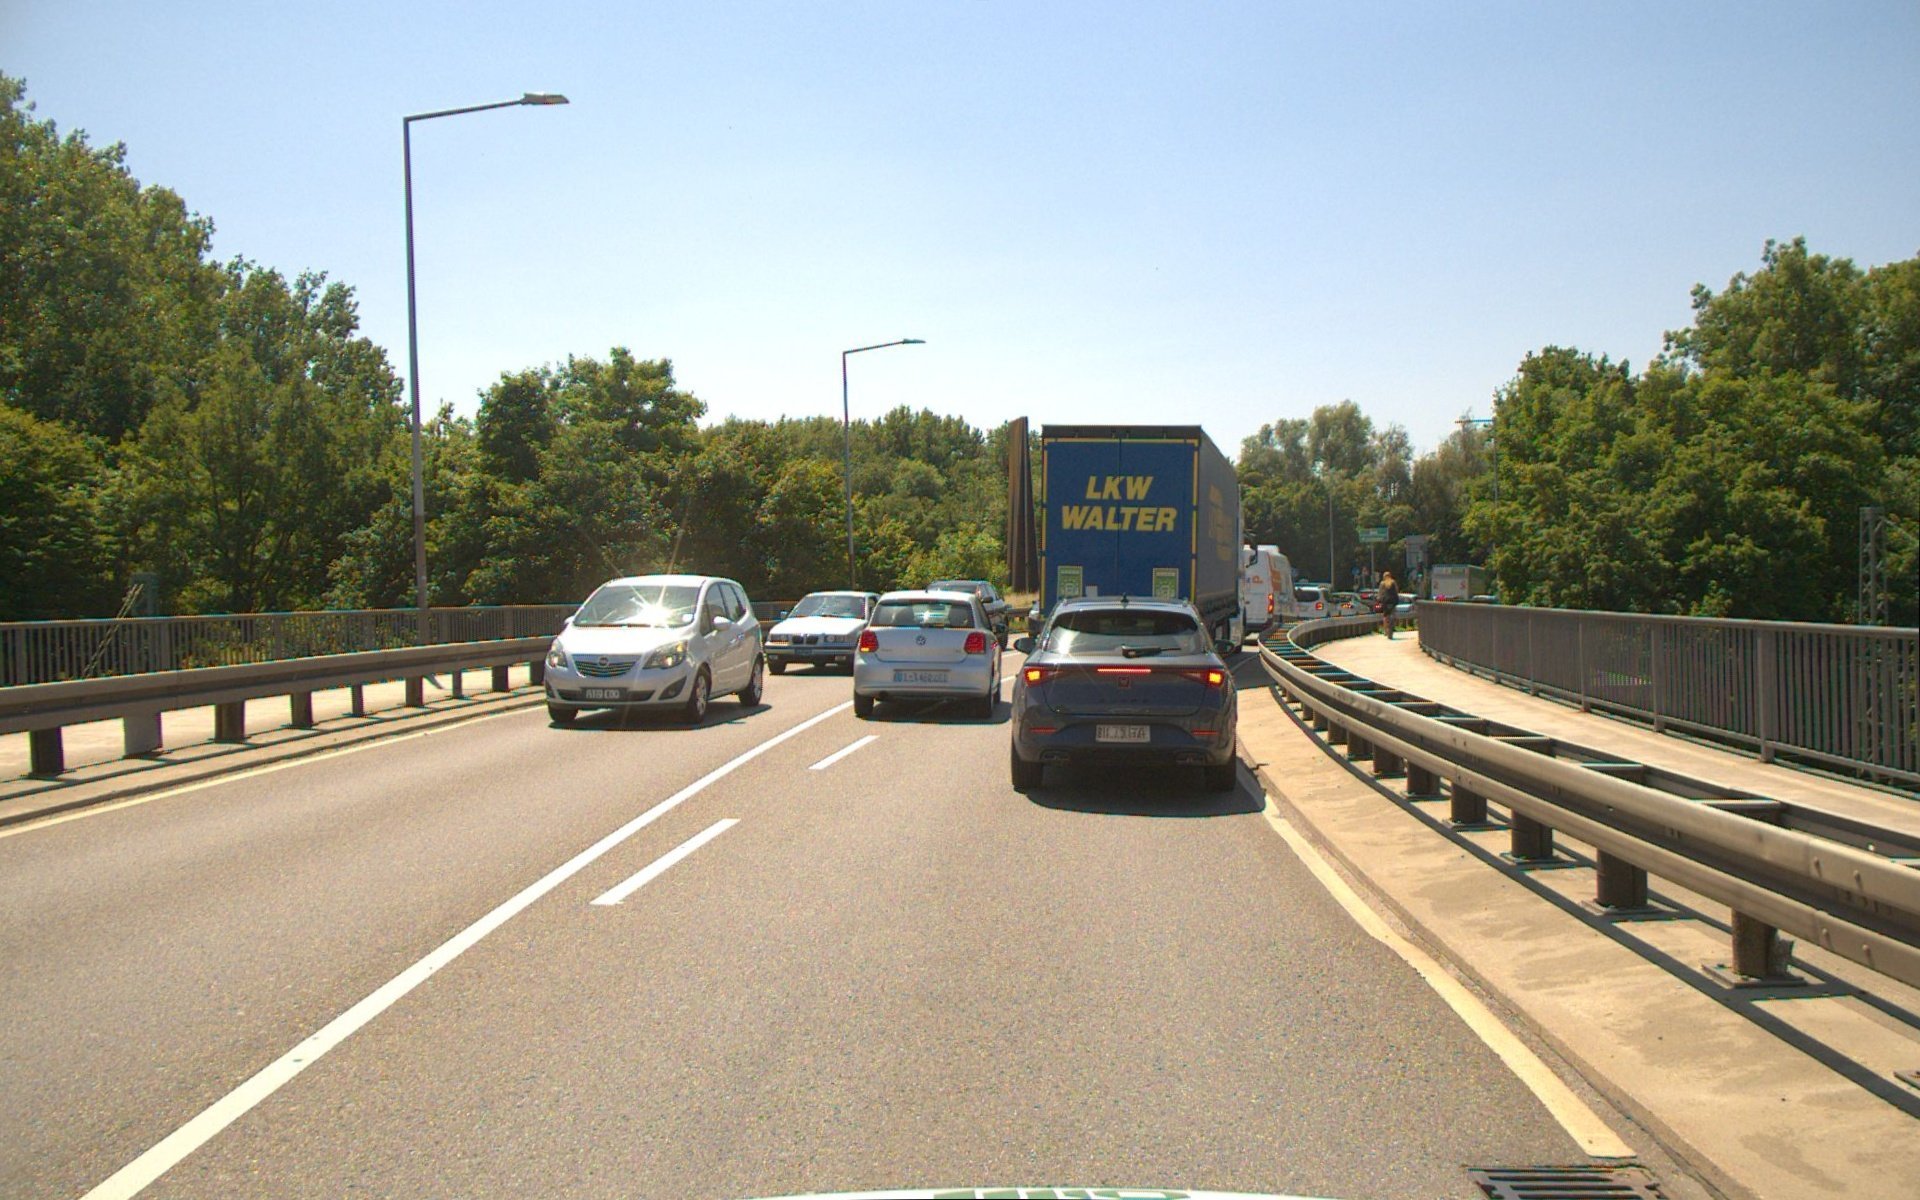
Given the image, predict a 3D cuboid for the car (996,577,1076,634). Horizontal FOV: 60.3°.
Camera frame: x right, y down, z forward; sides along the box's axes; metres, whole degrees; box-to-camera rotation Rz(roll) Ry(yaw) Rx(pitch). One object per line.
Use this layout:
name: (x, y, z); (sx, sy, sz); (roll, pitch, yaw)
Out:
car: (2.377, 0.134, 51.039); (1.670, 1.654, 4.256); (1, 1, 14)

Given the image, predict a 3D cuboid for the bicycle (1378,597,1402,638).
bicycle: (11.540, 0.455, 44.377); (0.569, 1.054, 1.486); (-2, 0, 16)

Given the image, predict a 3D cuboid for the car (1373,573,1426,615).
car: (20.426, -0.285, 76.713); (1.687, 1.876, 3.997); (1, 1, 25)

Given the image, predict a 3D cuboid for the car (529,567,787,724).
car: (-3.367, 0.468, 19.286); (1.699, 1.607, 4.180); (-1, 0, 8)

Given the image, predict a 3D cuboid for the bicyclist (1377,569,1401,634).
bicyclist: (11.508, 0.043, 44.353); (0.565, 1.712, 0.730); (-2, 0, 16)

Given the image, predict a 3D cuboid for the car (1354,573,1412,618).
car: (18.225, -0.212, 71.102); (1.687, 1.876, 3.997); (1, 1, 25)

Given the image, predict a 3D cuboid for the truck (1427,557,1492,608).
truck: (29.537, -1.020, 97.670); (2.292, 2.924, 5.927); (1, 1, 31)

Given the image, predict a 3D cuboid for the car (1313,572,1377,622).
car: (14.824, -0.144, 63.543); (1.686, 1.834, 3.998); (1, 1, 24)

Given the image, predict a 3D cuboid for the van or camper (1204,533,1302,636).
van or camper: (8.845, -0.480, 49.419); (2.109, 2.864, 6.391); (1, 1, 17)

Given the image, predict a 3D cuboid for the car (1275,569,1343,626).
car: (12.074, -0.113, 57.115); (1.685, 1.876, 4.001); (1, 1, 21)

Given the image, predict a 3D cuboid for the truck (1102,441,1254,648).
truck: (5.352, -1.264, 39.539); (2.842, 4.495, 6.561); (1, 1, 14)

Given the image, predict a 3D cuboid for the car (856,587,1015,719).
car: (-0.209, 0.583, 20.682); (1.642, 1.435, 3.977); (1, 1, 4)

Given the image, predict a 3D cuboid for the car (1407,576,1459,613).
car: (23.829, -0.246, 83.255); (1.654, 1.791, 3.993); (1, 0, 29)

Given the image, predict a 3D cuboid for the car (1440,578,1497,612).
car: (27.483, -0.266, 89.331); (1.958, 1.602, 3.989); (2, 0, 32)

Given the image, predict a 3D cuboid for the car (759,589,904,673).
car: (-2.202, 0.504, 29.433); (1.660, 1.400, 4.003); (0, 0, 9)

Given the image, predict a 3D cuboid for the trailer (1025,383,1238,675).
trailer: (3.667, -1.179, 31.836); (2.842, 4.495, 12.444); (1, 1, 11)

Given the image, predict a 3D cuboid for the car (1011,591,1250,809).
car: (1.393, 0.681, 13.493); (1.641, 1.481, 3.961); (0, 0, 6)

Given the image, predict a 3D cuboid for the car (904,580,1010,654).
car: (-0.001, 0.359, 39.640); (1.762, 1.669, 4.304); (0, 0, 11)
